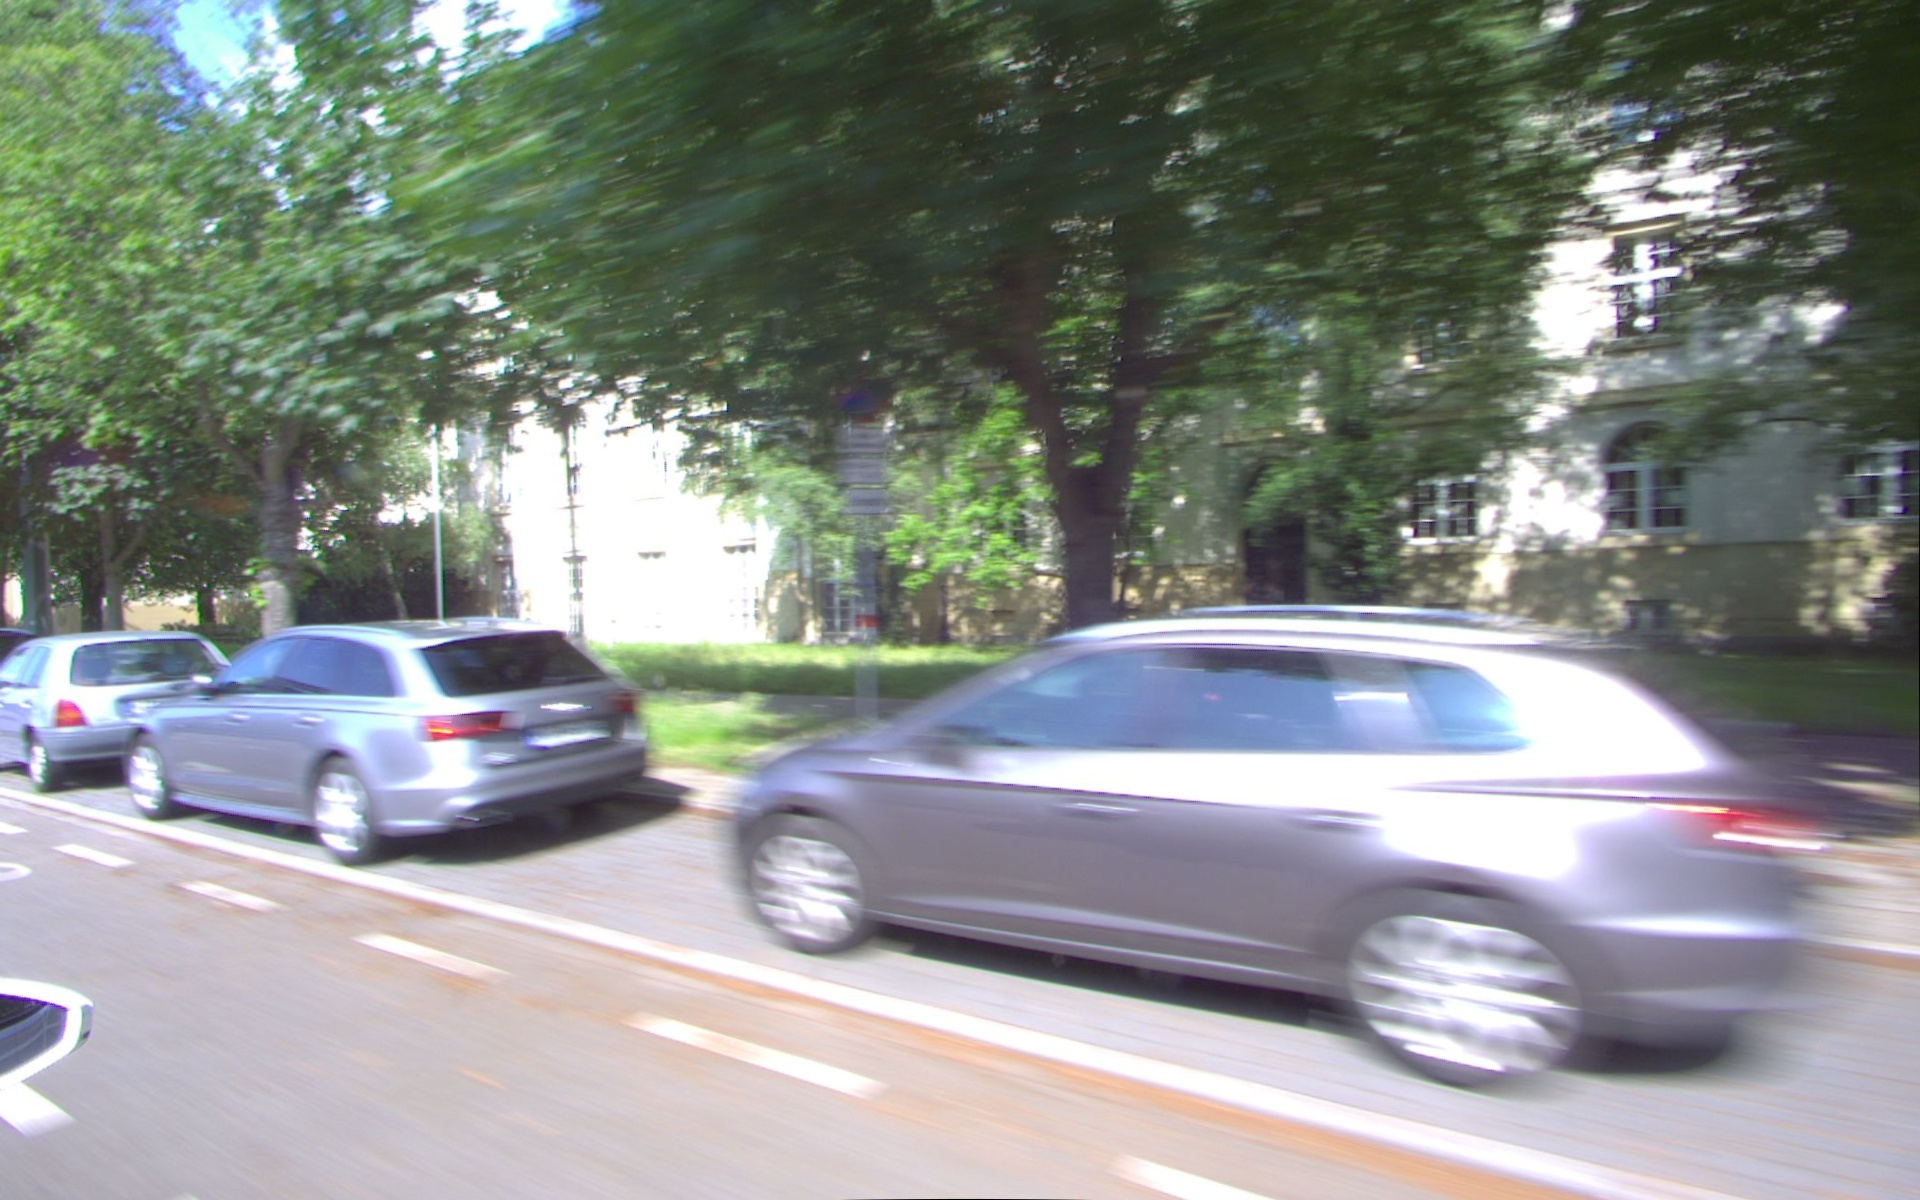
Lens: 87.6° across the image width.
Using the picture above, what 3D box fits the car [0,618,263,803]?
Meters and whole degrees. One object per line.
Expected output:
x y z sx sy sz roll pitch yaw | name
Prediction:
-8.954 0.967 10.239 3.960 1.451 1.630 -1 3 34 | car

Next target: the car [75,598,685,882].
-4.553 0.803 7.596 4.977 1.461 1.824 -1 3 32 | car

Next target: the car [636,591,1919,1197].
0.919 0.763 4.398 4.588 1.420 1.824 -1 3 31 | car

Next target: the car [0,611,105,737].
-13.821 1.017 13.507 4.758 1.487 1.828 -2 2 29 | car
